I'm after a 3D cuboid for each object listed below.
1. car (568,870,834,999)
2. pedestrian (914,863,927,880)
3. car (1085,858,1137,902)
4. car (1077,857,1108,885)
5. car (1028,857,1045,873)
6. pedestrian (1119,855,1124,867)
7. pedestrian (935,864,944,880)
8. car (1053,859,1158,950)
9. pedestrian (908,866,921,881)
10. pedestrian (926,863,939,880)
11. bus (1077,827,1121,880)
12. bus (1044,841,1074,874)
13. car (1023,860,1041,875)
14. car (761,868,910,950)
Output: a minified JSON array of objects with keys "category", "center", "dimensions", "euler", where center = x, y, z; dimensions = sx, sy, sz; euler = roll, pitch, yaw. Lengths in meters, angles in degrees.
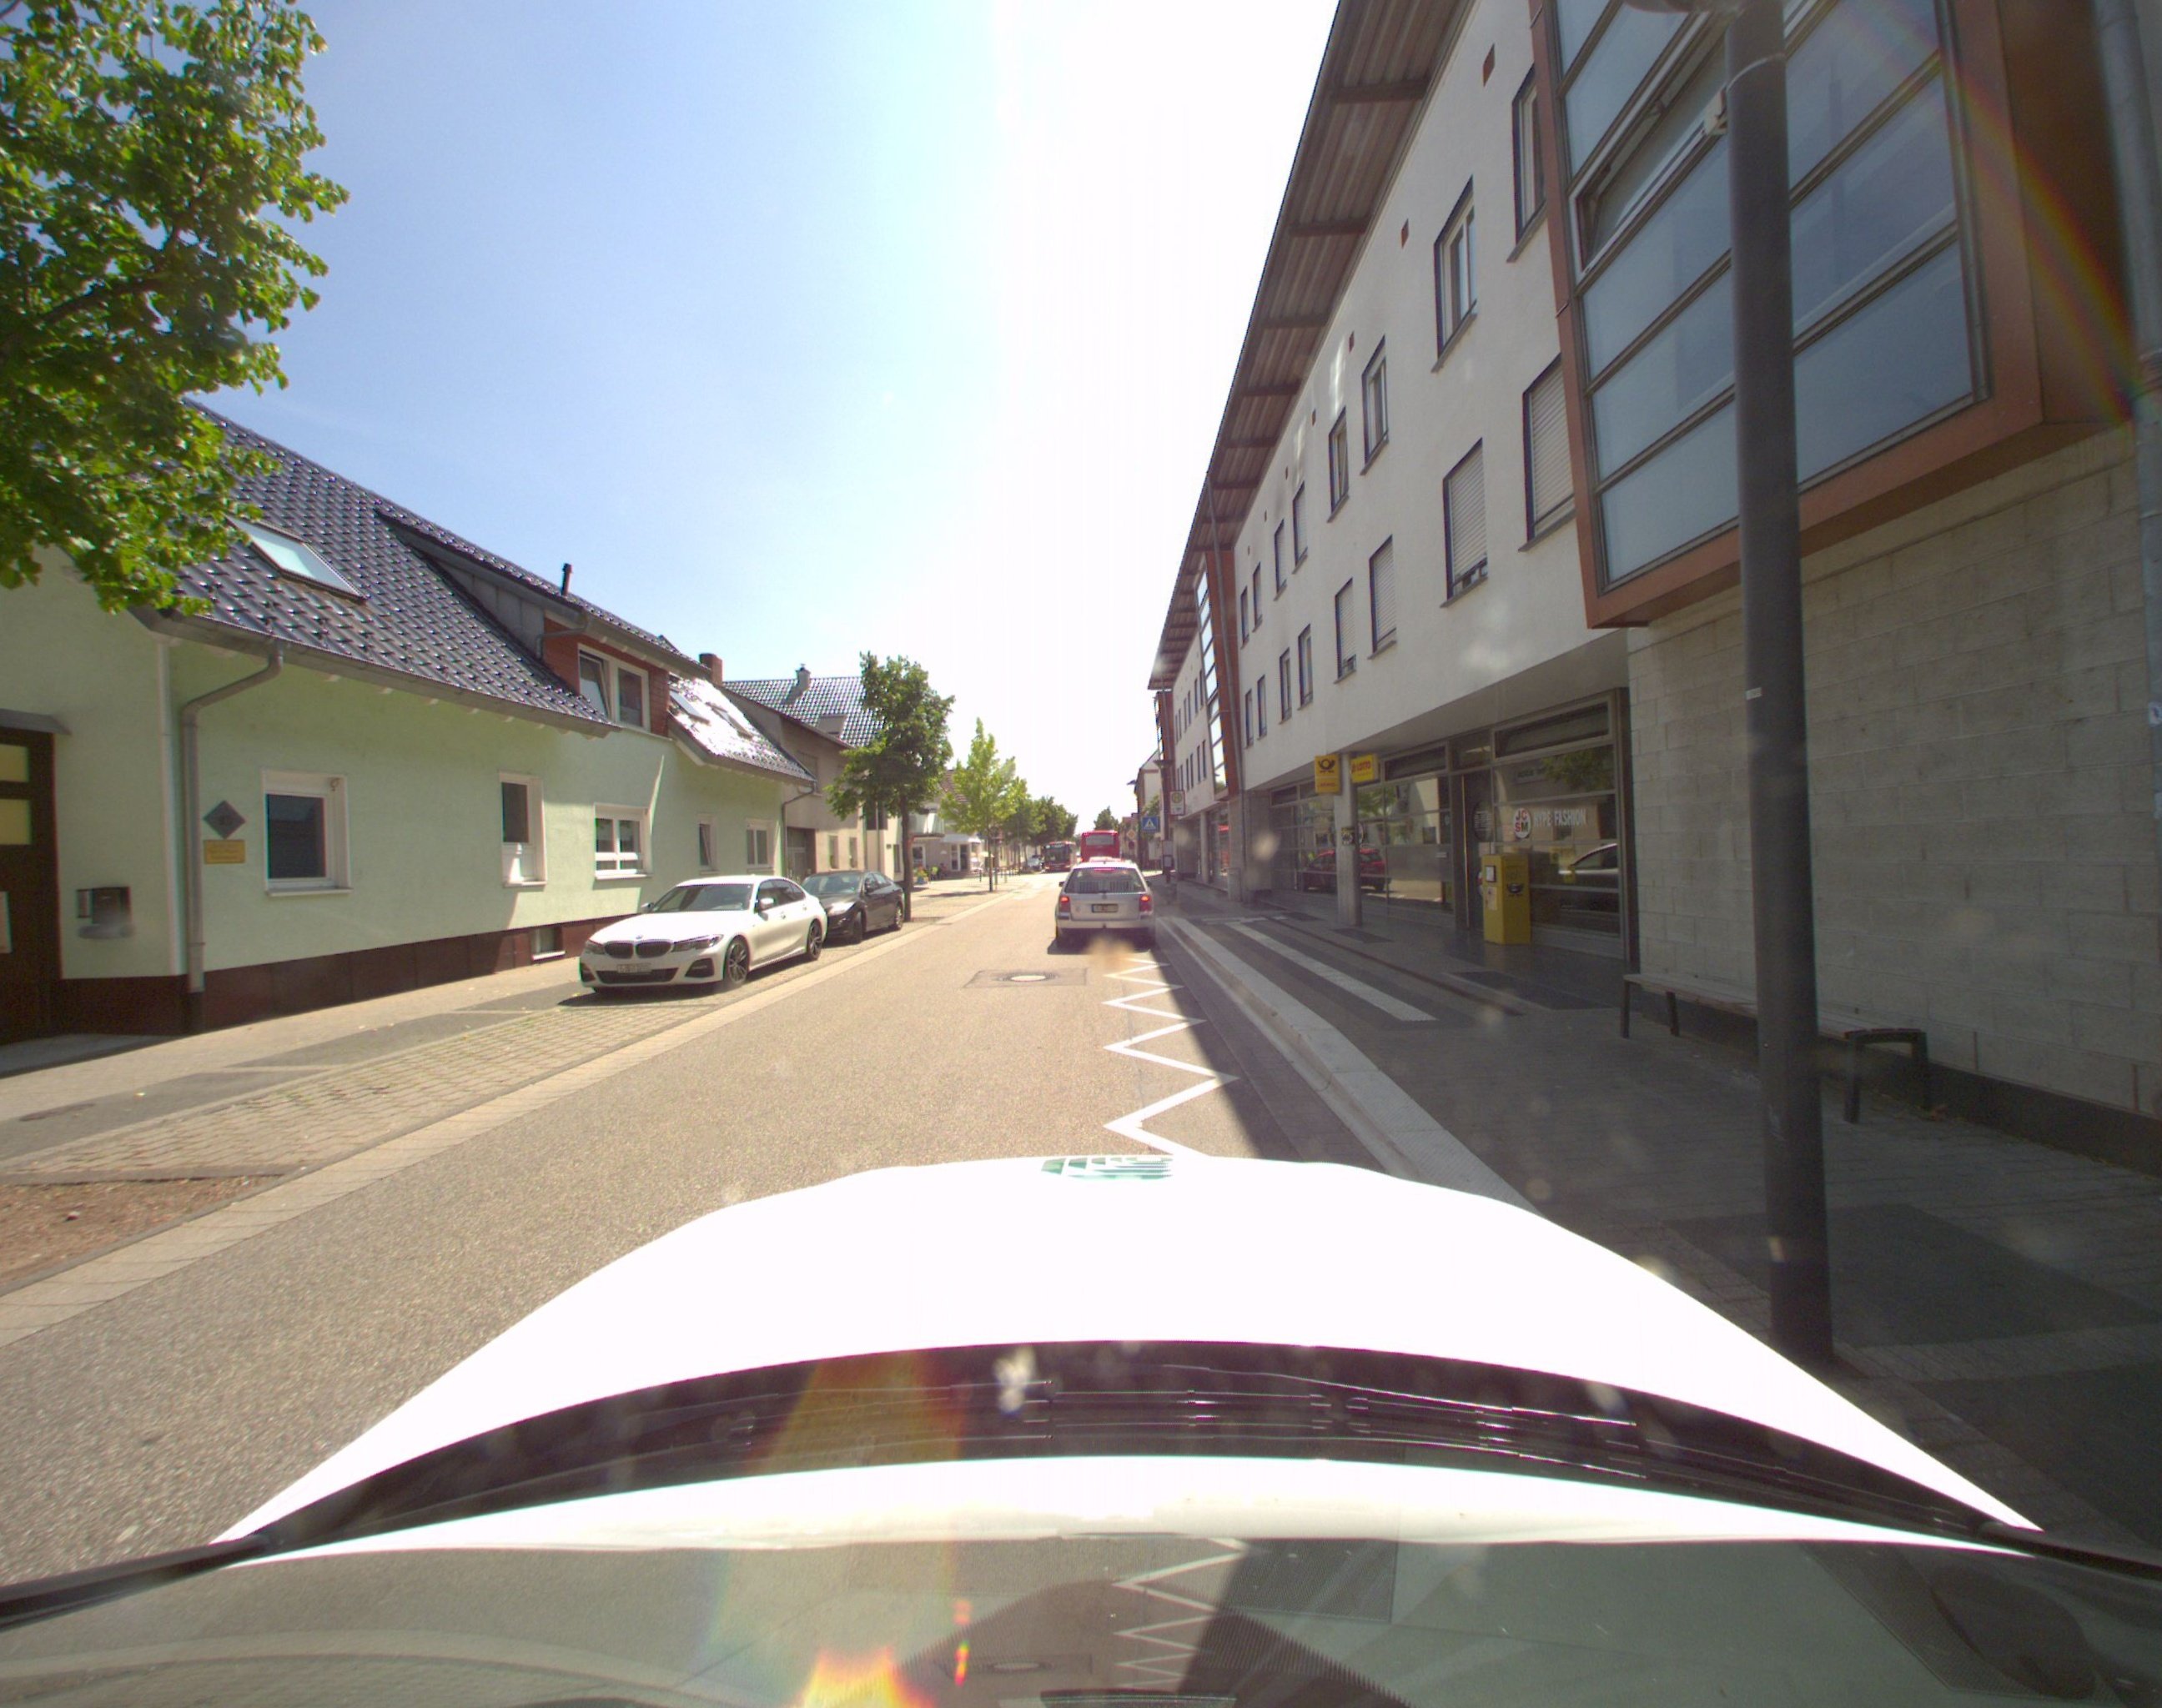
[{"category":"car","center":[-5.206,1.005,11.922],"dimensions":[1.714,1.437,4.460],"euler":[-1,0,1]},{"category":"pedestrian","center":[-12.209,1.353,61.931],"dimensions":[0.639,1.289,0.780],"euler":[1,-1,-43]},{"category":"car","center":[1.000,0.855,28.089],"dimensions":[1.671,1.430,3.680],"euler":[0,0,1]},{"category":"car","center":[0.662,0.900,43.512],"dimensions":[1.587,1.430,3.681],"euler":[0,0,2]},{"category":"car","center":[-5.368,1.269,98.388],"dimensions":[1.758,1.838,3.789],"euler":[-2,0,1]},{"category":"pedestrian","center":[5.755,0.958,116.191],"dimensions":[0.604,1.667,0.789],"euler":[-2,-1,-1]},{"category":"pedestrian","center":[-10.894,1.385,62.724],"dimensions":[0.620,1.179,0.696],"euler":[-2,-1,-3]},{"category":"car","center":[0.425,0.826,14.931],"dimensions":[1.671,1.430,3.680],"euler":[1,0,1]},{"category":"pedestrian","center":[-12.453,1.444,60.933],"dimensions":[0.639,1.116,0.780],"euler":[1,-1,-43]},{"category":"pedestrian","center":[-11.273,1.317,61.673],"dimensions":[0.639,1.289,0.780],"euler":[1,-1,-43]},{"category":"bus","center":[1.088,0.013,57.933],"dimensions":[2.732,3.298,12.700],"euler":[-1,-1,0]},{"category":"bus","center":[-2.190,0.333,88.026],"dimensions":[2.660,3.123,17.804],"euler":[-2,0,0]},{"category":"car","center":[-5.200,1.434,86.658],"dimensions":[1.599,1.438,4.065],"euler":[-2,0,1]},{"category":"car","center":[-5.067,1.063,17.504],"dimensions":[1.654,1.437,4.540],"euler":[-2,0,2]}]
